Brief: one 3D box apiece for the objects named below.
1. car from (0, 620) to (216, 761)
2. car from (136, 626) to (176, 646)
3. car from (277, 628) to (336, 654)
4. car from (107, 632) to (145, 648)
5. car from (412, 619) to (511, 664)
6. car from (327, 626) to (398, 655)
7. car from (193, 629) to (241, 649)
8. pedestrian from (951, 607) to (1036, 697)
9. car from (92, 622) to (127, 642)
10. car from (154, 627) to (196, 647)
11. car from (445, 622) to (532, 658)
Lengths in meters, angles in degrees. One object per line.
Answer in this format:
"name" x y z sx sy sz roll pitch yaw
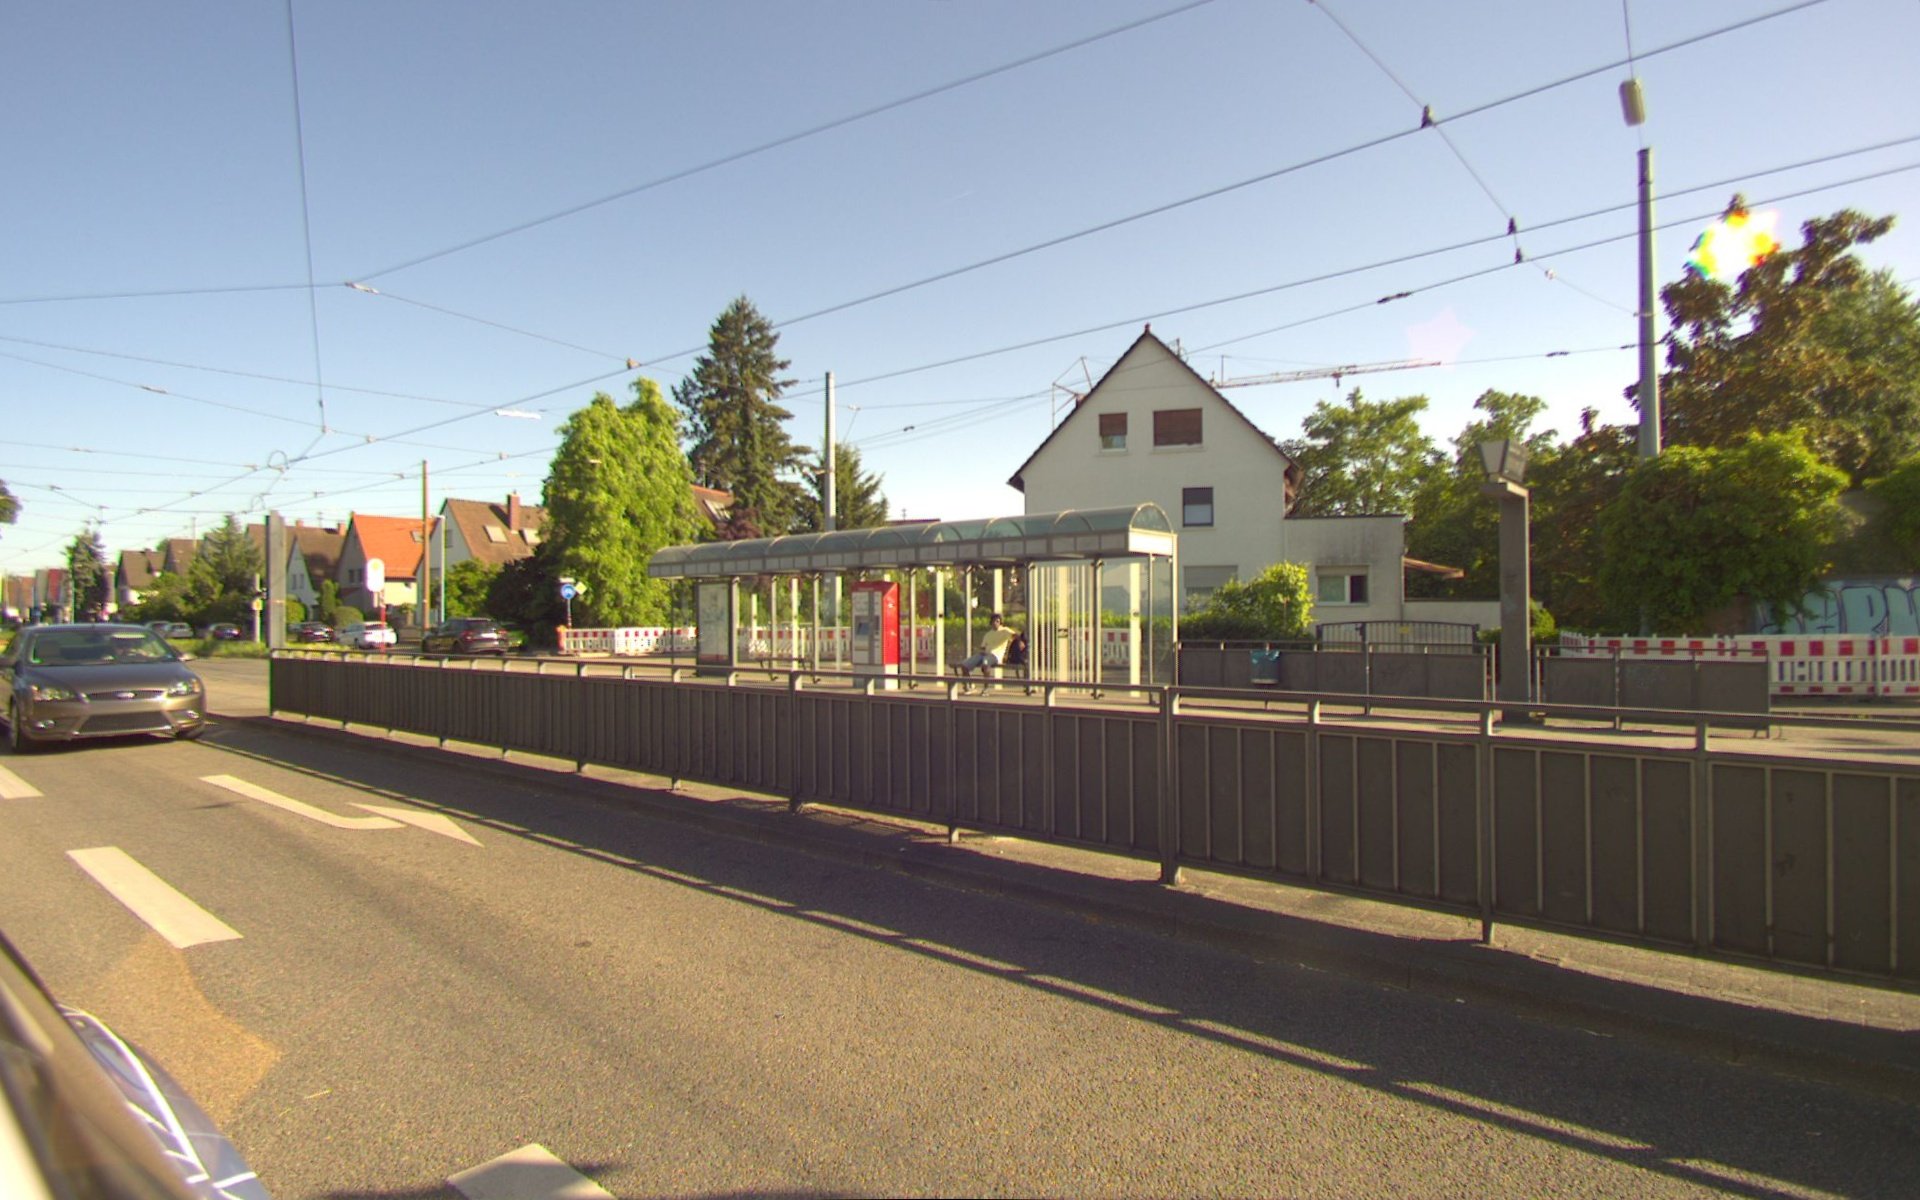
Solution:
"car" -11.001 0.998 12.617 4.329 1.461 1.758 -1 -1 39
"car" -68.915 3.074 86.764 4.534 1.573 1.864 -2 0 41
"car" -40.125 2.475 62.096 4.438 1.477 1.887 -1 0 41
"car" -77.787 3.677 94.368 4.979 1.351 1.973 -1 0 41
"car" -18.370 1.505 37.244 4.341 1.532 1.717 -2 -2 41
"car" -32.839 2.195 55.582 4.610 1.483 1.865 -1 0 40
"car" -54.368 2.852 73.995 4.308 1.382 1.972 -2 -1 42
"pedestrian" 0.581 0.885 17.284 1.006 1.464 1.050 -1 -4 40
"car" -84.328 3.174 100.354 4.582 1.877 1.973 -2 -1 41
"car" -64.918 3.042 83.670 4.837 1.483 1.864 -2 0 42
"car" -21.519 1.791 46.126 4.063 1.512 1.975 -1 0 38
